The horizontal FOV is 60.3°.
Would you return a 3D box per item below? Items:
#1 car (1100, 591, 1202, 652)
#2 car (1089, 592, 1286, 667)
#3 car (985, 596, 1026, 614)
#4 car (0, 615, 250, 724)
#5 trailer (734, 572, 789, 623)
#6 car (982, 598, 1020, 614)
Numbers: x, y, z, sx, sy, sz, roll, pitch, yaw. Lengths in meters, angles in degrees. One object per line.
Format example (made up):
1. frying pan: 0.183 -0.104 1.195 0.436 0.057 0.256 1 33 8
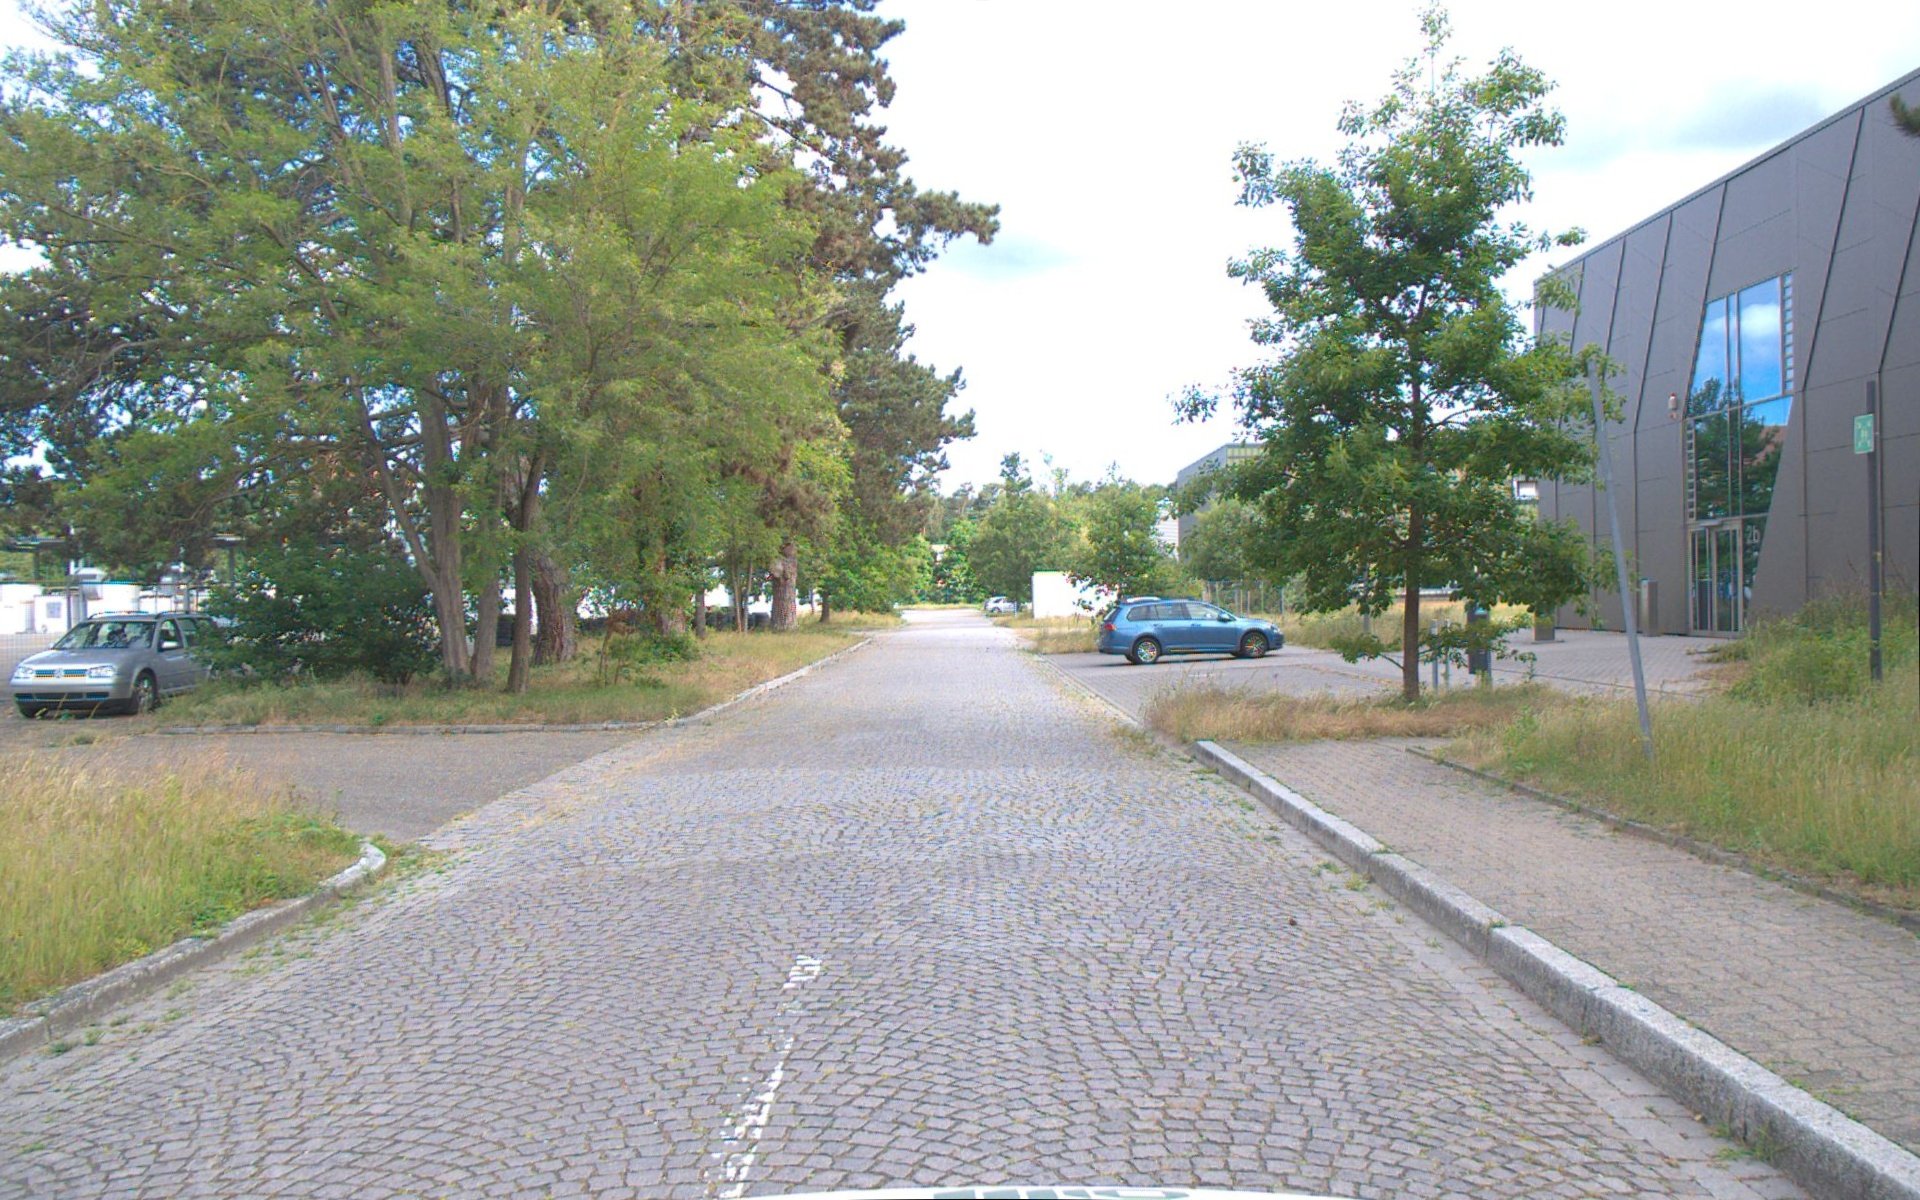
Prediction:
1. car: 5.455 0.607 47.529 2.655 1.583 1.653 -3 0 0
2. car: 5.447 0.691 39.957 4.402 1.501 1.829 -3 0 -3
3. car: 4.391 0.456 159.770 3.903 1.473 1.653 -3 0 0
4. car: -12.616 0.991 25.261 1.788 1.441 4.419 -1 0 -3
5. trailer: -15.179 -0.181 127.032 2.571 3.661 10.179 -1 0 2
6. car: 3.874 0.574 157.072 3.450 1.386 1.622 -3 0 0
